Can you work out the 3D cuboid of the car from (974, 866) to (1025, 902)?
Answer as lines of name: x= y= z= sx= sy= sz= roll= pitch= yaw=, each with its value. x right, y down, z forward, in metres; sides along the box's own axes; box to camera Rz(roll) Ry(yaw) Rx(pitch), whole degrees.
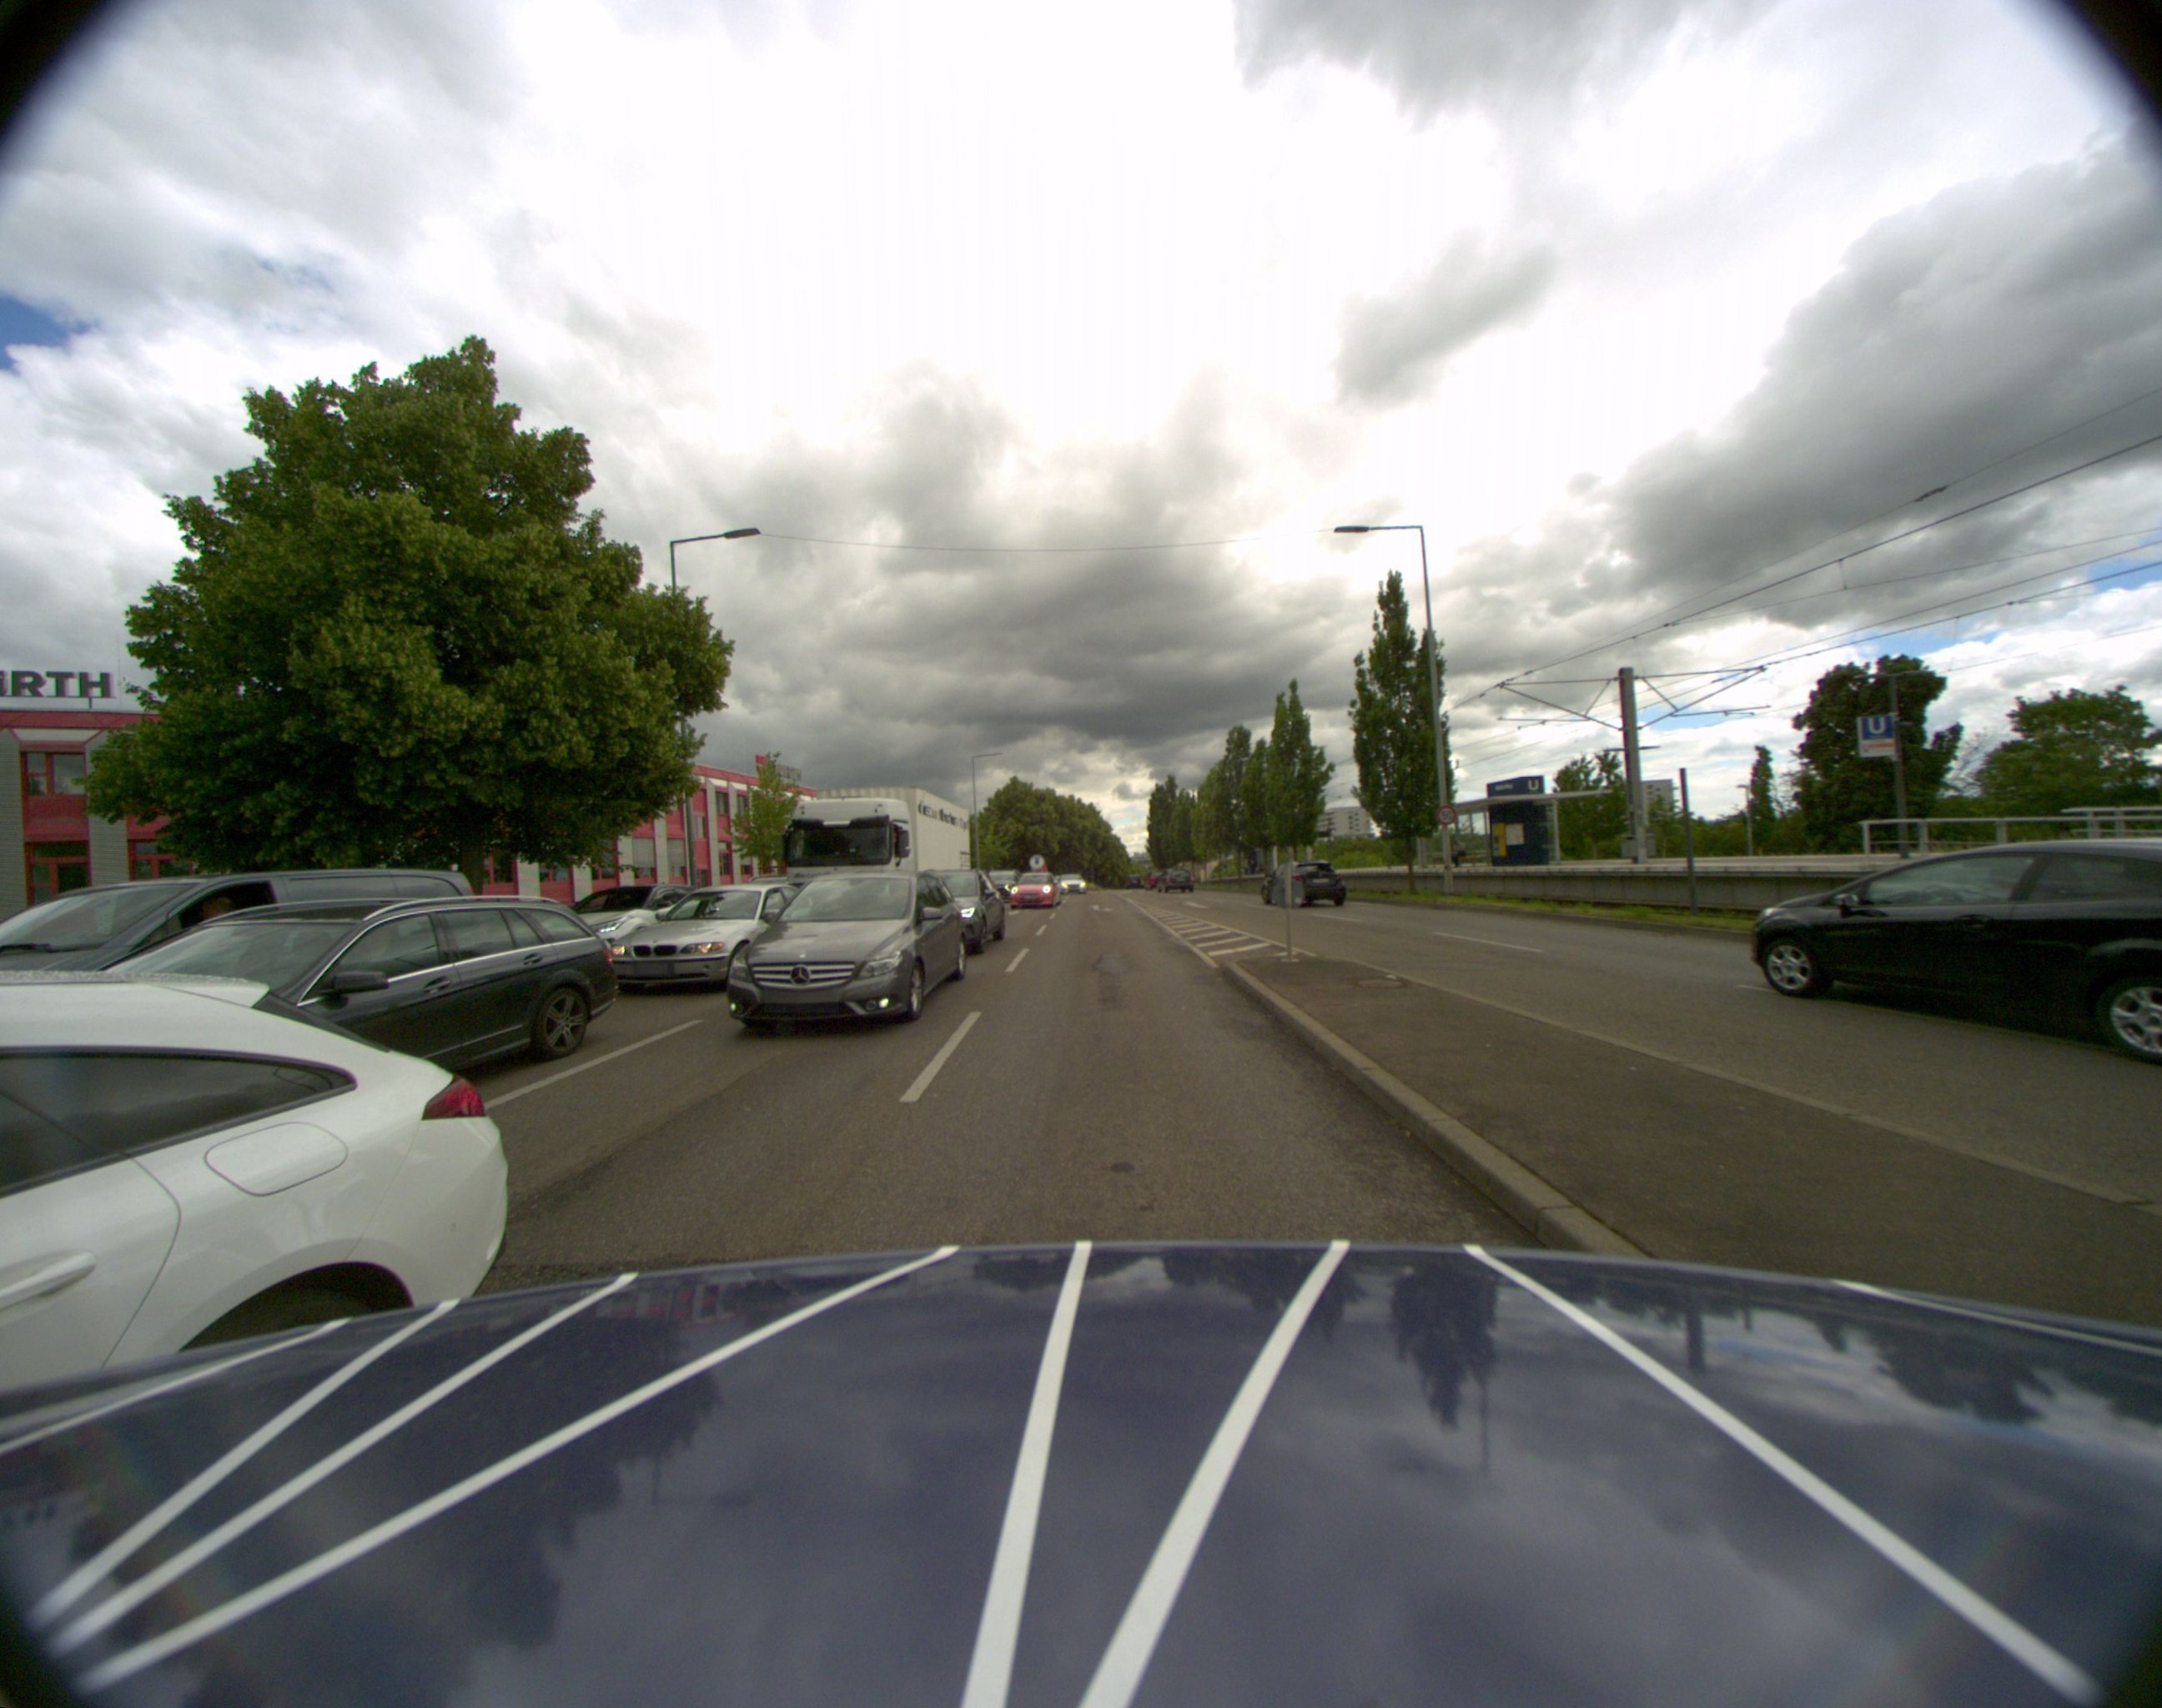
car: x=-4.049 y=1.462 z=38.468 sx=1.797 sy=1.521 sz=4.219 roll=-2 pitch=1 yaw=4

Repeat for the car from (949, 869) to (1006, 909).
car: x=-4.471 y=1.486 z=33.422 sx=1.851 sy=1.521 sz=4.377 roll=-2 pitch=-1 yaw=0

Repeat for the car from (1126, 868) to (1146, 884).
car: x=5.870 y=2.371 z=82.000 sx=1.700 sy=1.440 sz=3.933 roll=-4 pitch=1 yaw=-1

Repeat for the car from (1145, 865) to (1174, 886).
car: x=6.014 y=1.631 z=58.477 sx=1.700 sy=1.440 sz=3.934 roll=-2 pitch=0 yaw=-1

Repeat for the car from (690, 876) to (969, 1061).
car: x=-2.509 y=1.063 z=8.695 sx=1.750 sy=1.499 sz=4.048 roll=-2 pitch=-1 yaw=1

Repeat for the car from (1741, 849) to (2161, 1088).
car: x=7.608 y=0.715 z=5.931 sx=1.700 sy=1.440 sz=3.660 roll=-2 pitch=0 yaw=0

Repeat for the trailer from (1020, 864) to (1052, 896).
trailer: x=-2.980 y=1.688 z=51.087 sx=1.775 sy=1.651 sz=3.994 roll=-2 pitch=4 yaw=1

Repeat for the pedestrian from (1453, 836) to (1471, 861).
pedestrian: x=17.830 y=-0.266 z=35.586 sx=0.601 sy=1.148 sz=0.447 roll=-2 pitch=1 yaw=1

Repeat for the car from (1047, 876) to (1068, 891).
car: x=-2.313 y=2.870 z=75.117 sx=1.804 sy=1.403 sz=4.318 roll=-2 pitch=-2 yaw=1

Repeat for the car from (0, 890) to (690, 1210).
car: x=-5.349 y=1.202 z=6.398 sx=1.750 sy=1.476 sz=4.355 roll=-2 pitch=1 yaw=1

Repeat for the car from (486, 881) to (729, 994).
car: x=-8.611 y=1.428 z=14.351 sx=1.844 sy=1.507 sz=4.106 roll=-6 pitch=0 yaw=1

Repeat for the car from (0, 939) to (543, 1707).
car: x=-2.694 y=1.072 z=0.104 sx=1.848 sy=1.498 sz=4.530 roll=-2 pitch=1 yaw=2

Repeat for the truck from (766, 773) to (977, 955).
truck: x=-5.260 y=0.243 z=21.674 sx=2.809 sy=3.880 sz=10.183 roll=-2 pitch=0 yaw=2

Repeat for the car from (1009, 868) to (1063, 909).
car: x=-1.778 y=1.358 z=31.018 sx=1.825 sy=1.497 sz=3.495 roll=-2 pitch=-1 yaw=2

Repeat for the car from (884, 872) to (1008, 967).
car: x=-2.456 y=1.151 z=14.716 sx=1.628 sy=1.484 sz=3.838 roll=-2 pitch=-1 yaw=1

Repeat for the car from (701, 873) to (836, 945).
car: x=-8.460 y=1.428 z=21.025 sx=1.865 sy=1.648 sz=4.209 roll=-4 pitch=-1 yaw=1

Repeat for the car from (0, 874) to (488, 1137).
car: x=-8.829 y=1.213 z=7.716 sx=1.763 sy=1.765 sz=4.675 roll=-2 pitch=1 yaw=2

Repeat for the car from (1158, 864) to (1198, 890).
car: x=5.878 y=1.377 z=46.356 sx=1.813 sy=1.440 sz=3.934 roll=-2 pitch=0 yaw=-1

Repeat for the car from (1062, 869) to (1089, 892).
car: x=-0.332 y=1.880 z=54.561 sx=1.804 sy=1.403 sz=4.317 roll=-2 pitch=1 yaw=1

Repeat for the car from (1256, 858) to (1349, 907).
car: x=7.254 y=0.903 z=25.246 sx=1.700 sy=1.440 sz=3.934 roll=-2 pitch=-1 yaw=-3

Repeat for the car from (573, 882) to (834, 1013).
car: x=-5.425 y=1.257 z=11.659 sx=1.750 sy=1.374 sz=4.290 roll=-2 pitch=1 yaw=1
